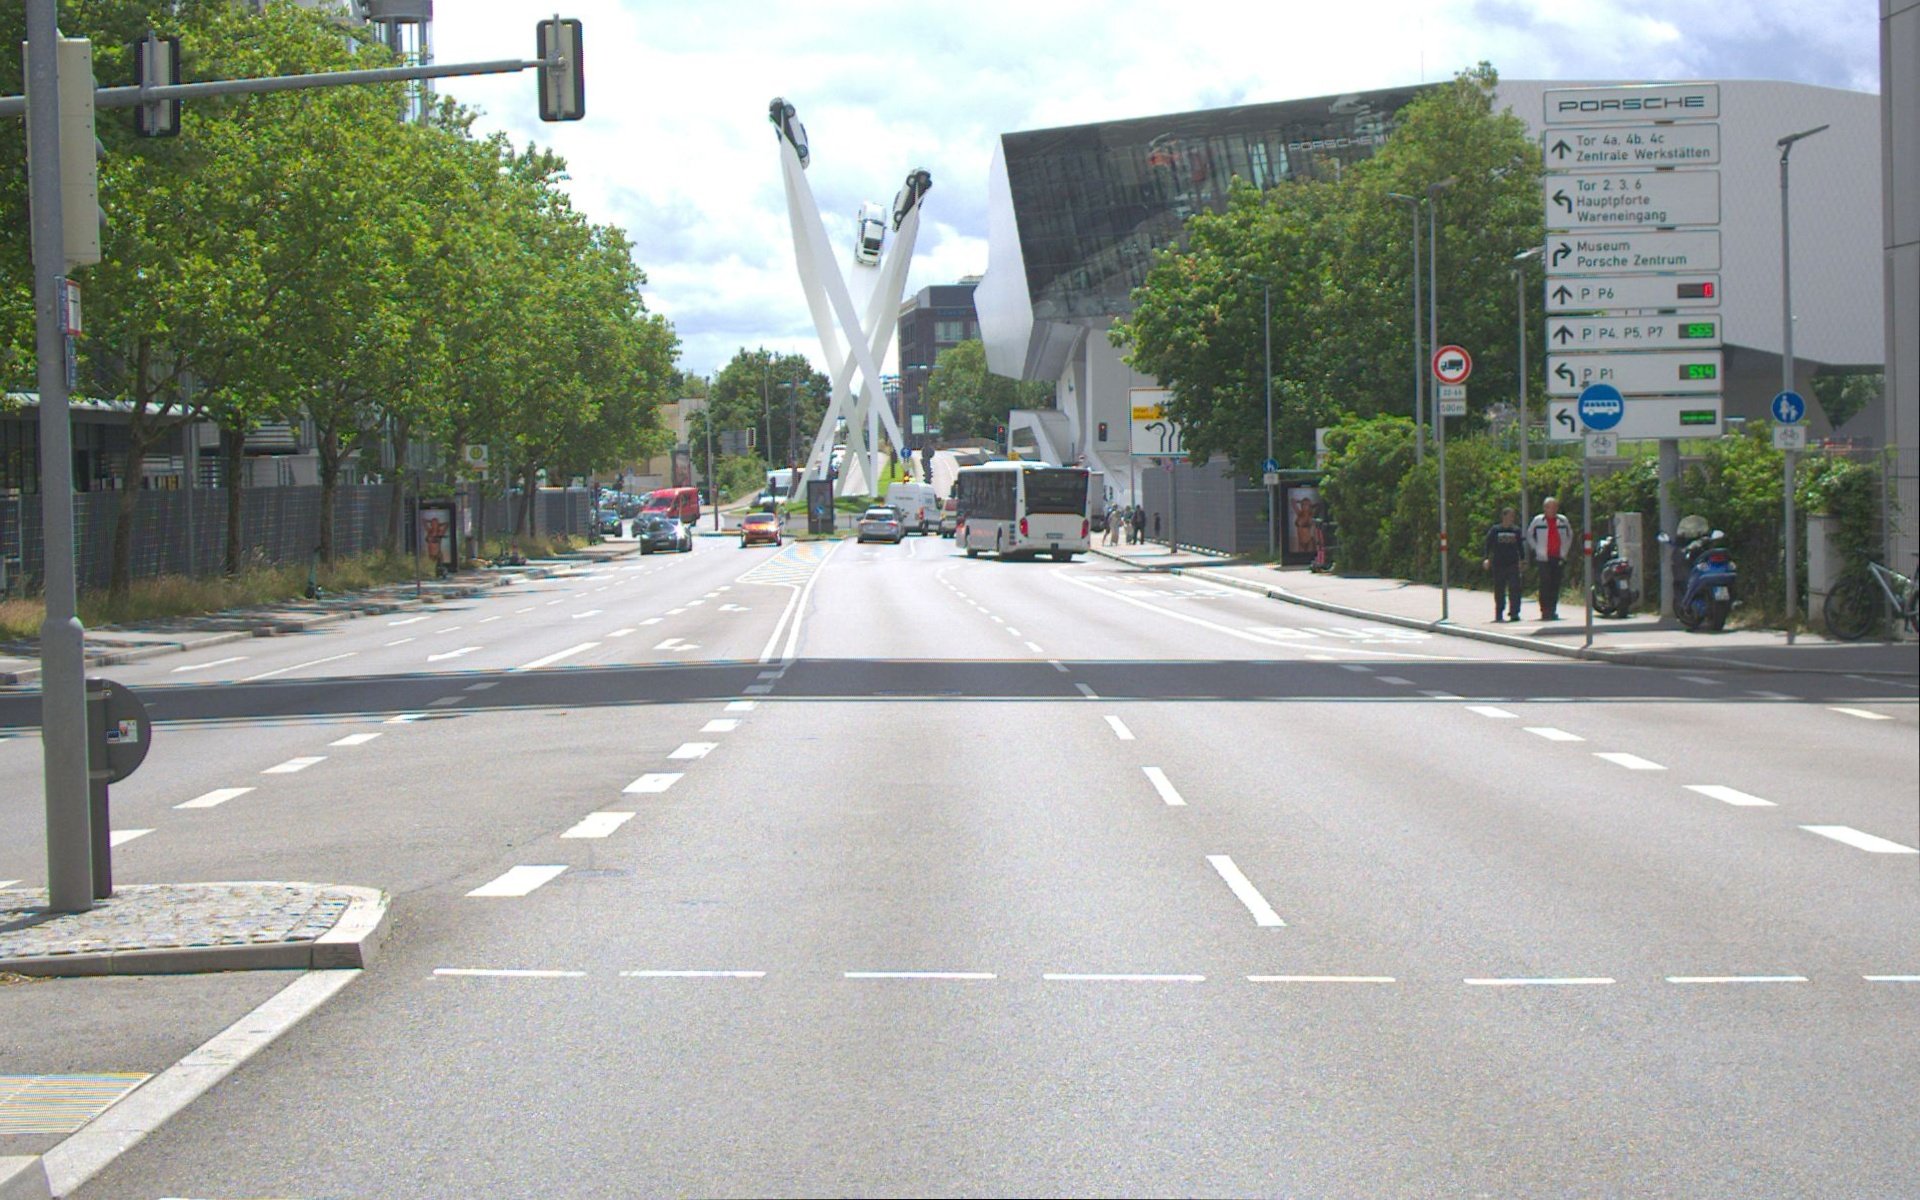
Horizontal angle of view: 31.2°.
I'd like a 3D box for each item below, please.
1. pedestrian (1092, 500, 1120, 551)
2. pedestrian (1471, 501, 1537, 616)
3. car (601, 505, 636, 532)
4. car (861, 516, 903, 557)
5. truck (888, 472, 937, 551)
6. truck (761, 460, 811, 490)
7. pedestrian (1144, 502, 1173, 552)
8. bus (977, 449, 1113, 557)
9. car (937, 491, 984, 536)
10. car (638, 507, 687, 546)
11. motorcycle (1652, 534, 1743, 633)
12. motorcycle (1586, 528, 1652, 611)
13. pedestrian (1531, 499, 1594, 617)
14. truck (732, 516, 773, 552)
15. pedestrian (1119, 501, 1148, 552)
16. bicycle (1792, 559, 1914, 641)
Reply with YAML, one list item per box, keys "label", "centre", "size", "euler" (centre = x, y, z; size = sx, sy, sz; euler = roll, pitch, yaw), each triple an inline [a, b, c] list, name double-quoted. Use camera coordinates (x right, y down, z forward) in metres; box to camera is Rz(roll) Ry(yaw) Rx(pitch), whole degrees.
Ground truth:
- label: "pedestrian"
  centre: [5.885, -3.012, 138.745]
  size: [1.028, 2.007, 0.885]
  euler: [1, 0, -4]
- label: "pedestrian"
  centre: [8.092, -0.621, 51.156]
  size: [0.820, 1.701, 0.881]
  euler: [0, 1, -1]
- label: "car"
  centre: [-19.905, -4.752, 200.520]
  size: [1.818, 1.532, 3.679]
  euler: [-2, 1, -2]
- label: "car"
  centre: [-3.368, -2.741, 148.703]
  size: [1.738, 1.735, 3.691]
  euler: [0, 1, -1]
- label: "truck"
  centre: [-2.362, -4.430, 172.090]
  size: [2.392, 3.884, 6.177]
  euler: [0, 1, -1]
- label: "truck"
  centre: [-12.179, -8.751, 241.055]
  size: [1.761, 2.007, 4.438]
  euler: [0, 1, 22]
- label: "pedestrian"
  centre: [8.028, -2.943, 139.095]
  size: [1.028, 2.007, 0.885]
  euler: [1, 0, -4]
- label: "bus"
  centre: [2.819, -3.305, 118.621]
  size: [3.452, 3.531, 10.608]
  euler: [0, 1, -5]
- label: "car"
  centre: [0.037, -4.155, 165.562]
  size: [1.994, 2.007, 3.999]
  euler: [1, 0, 3]
- label: "car"
  centre: [-12.404, -3.063, 143.353]
  size: [1.818, 1.532, 3.679]
  euler: [-2, 1, -2]
- label: "motorcycle"
  centre: [9.616, -0.230, 44.881]
  size: [0.706, 1.199, 2.024]
  euler: [-2, 2, -1]
- label: "motorcycle"
  centre: [10.099, -0.485, 52.738]
  size: [0.574, 1.199, 2.024]
  euler: [-2, 2, -1]
- label: "pedestrian"
  centre: [8.950, -0.625, 51.090]
  size: [0.820, 1.735, 0.637]
  euler: [0, 1, 0]
- label: "truck"
  centre: [-8.879, -2.819, 147.036]
  size: [1.583, 1.532, 3.679]
  euler: [0, 1, -6]
- label: "pedestrian"
  centre: [6.990, -2.956, 138.740]
  size: [1.028, 2.007, 0.885]
  euler: [1, 0, -4]
- label: "bicycle"
  centre: [10.621, -0.011, 40.961]
  size: [0.397, 0.933, 1.929]
  euler: [0, 1, -19]
